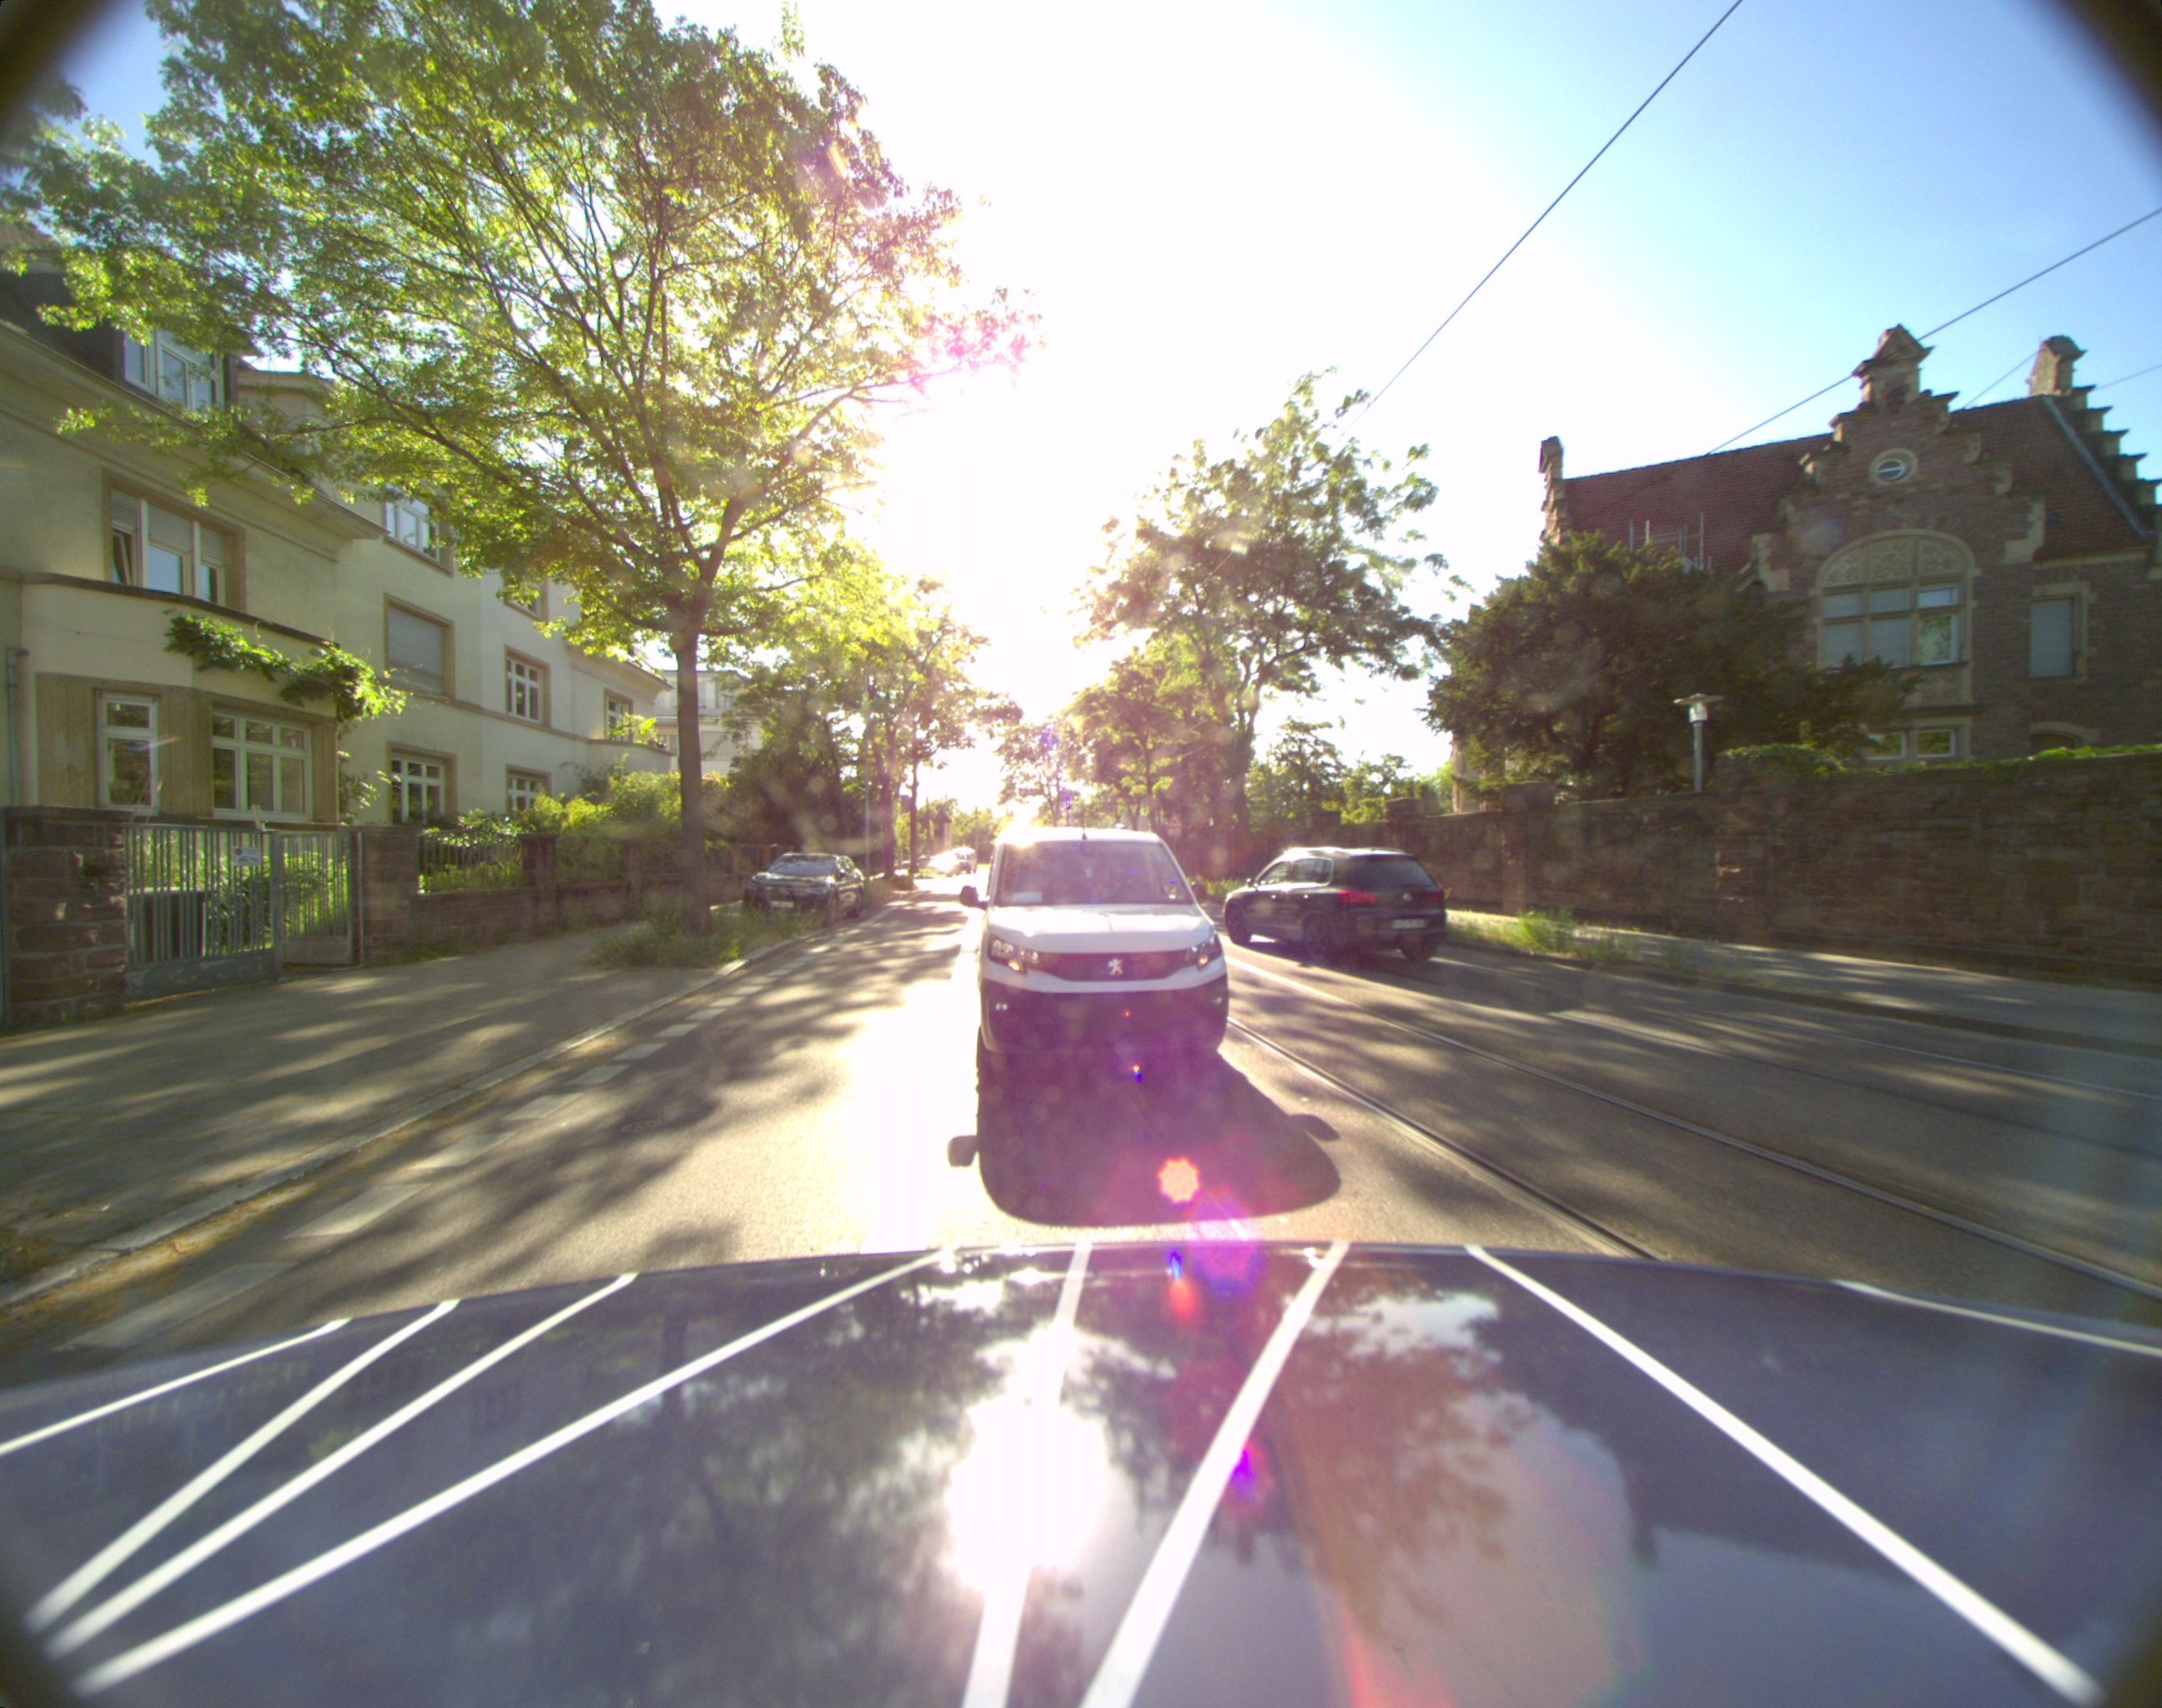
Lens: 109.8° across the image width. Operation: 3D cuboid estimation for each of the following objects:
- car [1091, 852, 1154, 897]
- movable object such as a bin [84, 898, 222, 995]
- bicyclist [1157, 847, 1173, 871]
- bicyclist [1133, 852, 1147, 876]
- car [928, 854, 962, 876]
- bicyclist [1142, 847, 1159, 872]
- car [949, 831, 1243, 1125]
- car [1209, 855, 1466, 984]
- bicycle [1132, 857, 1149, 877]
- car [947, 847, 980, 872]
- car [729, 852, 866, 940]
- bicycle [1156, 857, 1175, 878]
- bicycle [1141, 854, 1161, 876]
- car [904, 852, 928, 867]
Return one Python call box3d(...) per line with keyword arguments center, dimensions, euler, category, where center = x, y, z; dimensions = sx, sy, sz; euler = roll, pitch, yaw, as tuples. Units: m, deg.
box3d(center=(1.594, 0.857, 30.711), dimensions=(1.926, 1.606, 4.117), euler=(-2, -2, -5), category="car")
box3d(center=(-11.056, 1.072, 9.069), dimensions=(0.965, 1.049, 0.728), euler=(-1, 1, 20), category="movable object such as a bin")
box3d(center=(4.857, 0.269, 44.132), dimensions=(0.734, 1.383, 1.060), euler=(-1, 1, -4), category="bicyclist")
box3d(center=(3.808, 0.626, 48.828), dimensions=(0.744, 1.526, 0.751), euler=(-1, 1, -4), category="bicyclist")
box3d(center=(-9.174, 0.729, 51.579), dimensions=(1.720, 1.332, 3.916), euler=(-1, 1, -2), category="car")
box3d(center=(4.021, 0.319, 43.874), dimensions=(0.768, 1.383, 1.271), euler=(-1, 1, -4), category="bicyclist")
box3d(center=(-0.105, 0.735, 6.903), dimensions=(1.833, 1.788, 4.331), euler=(-1, 1, -6), category="car")
box3d(center=(3.707, 0.834, 11.858), dimensions=(1.803, 1.628, 4.113), euler=(0, 0, -16), category="car")
box3d(center=(3.815, 0.838, 48.895), dimensions=(0.747, 1.184, 2.087), euler=(-1, 1, -4), category="bicycle")
box3d(center=(-8.916, 0.379, 57.987), dimensions=(1.905, 1.819, 4.247), euler=(-1, 1, -2), category="car")
box3d(center=(-6.455, 0.869, 17.825), dimensions=(2.000, 1.733, 4.167), euler=(-1, 1, -6), category="car")
box3d(center=(4.871, 0.772, 44.064), dimensions=(0.734, 1.184, 2.087), euler=(-1, 1, -4), category="bicycle")
box3d(center=(4.031, 0.630, 43.892), dimensions=(0.774, 1.184, 2.101), euler=(-1, 1, -4), category="bicycle")
box3d(center=(-16.565, 0.518, 76.506), dimensions=(1.741, 1.434, 3.998), euler=(-1, 1, -4), category="car")
